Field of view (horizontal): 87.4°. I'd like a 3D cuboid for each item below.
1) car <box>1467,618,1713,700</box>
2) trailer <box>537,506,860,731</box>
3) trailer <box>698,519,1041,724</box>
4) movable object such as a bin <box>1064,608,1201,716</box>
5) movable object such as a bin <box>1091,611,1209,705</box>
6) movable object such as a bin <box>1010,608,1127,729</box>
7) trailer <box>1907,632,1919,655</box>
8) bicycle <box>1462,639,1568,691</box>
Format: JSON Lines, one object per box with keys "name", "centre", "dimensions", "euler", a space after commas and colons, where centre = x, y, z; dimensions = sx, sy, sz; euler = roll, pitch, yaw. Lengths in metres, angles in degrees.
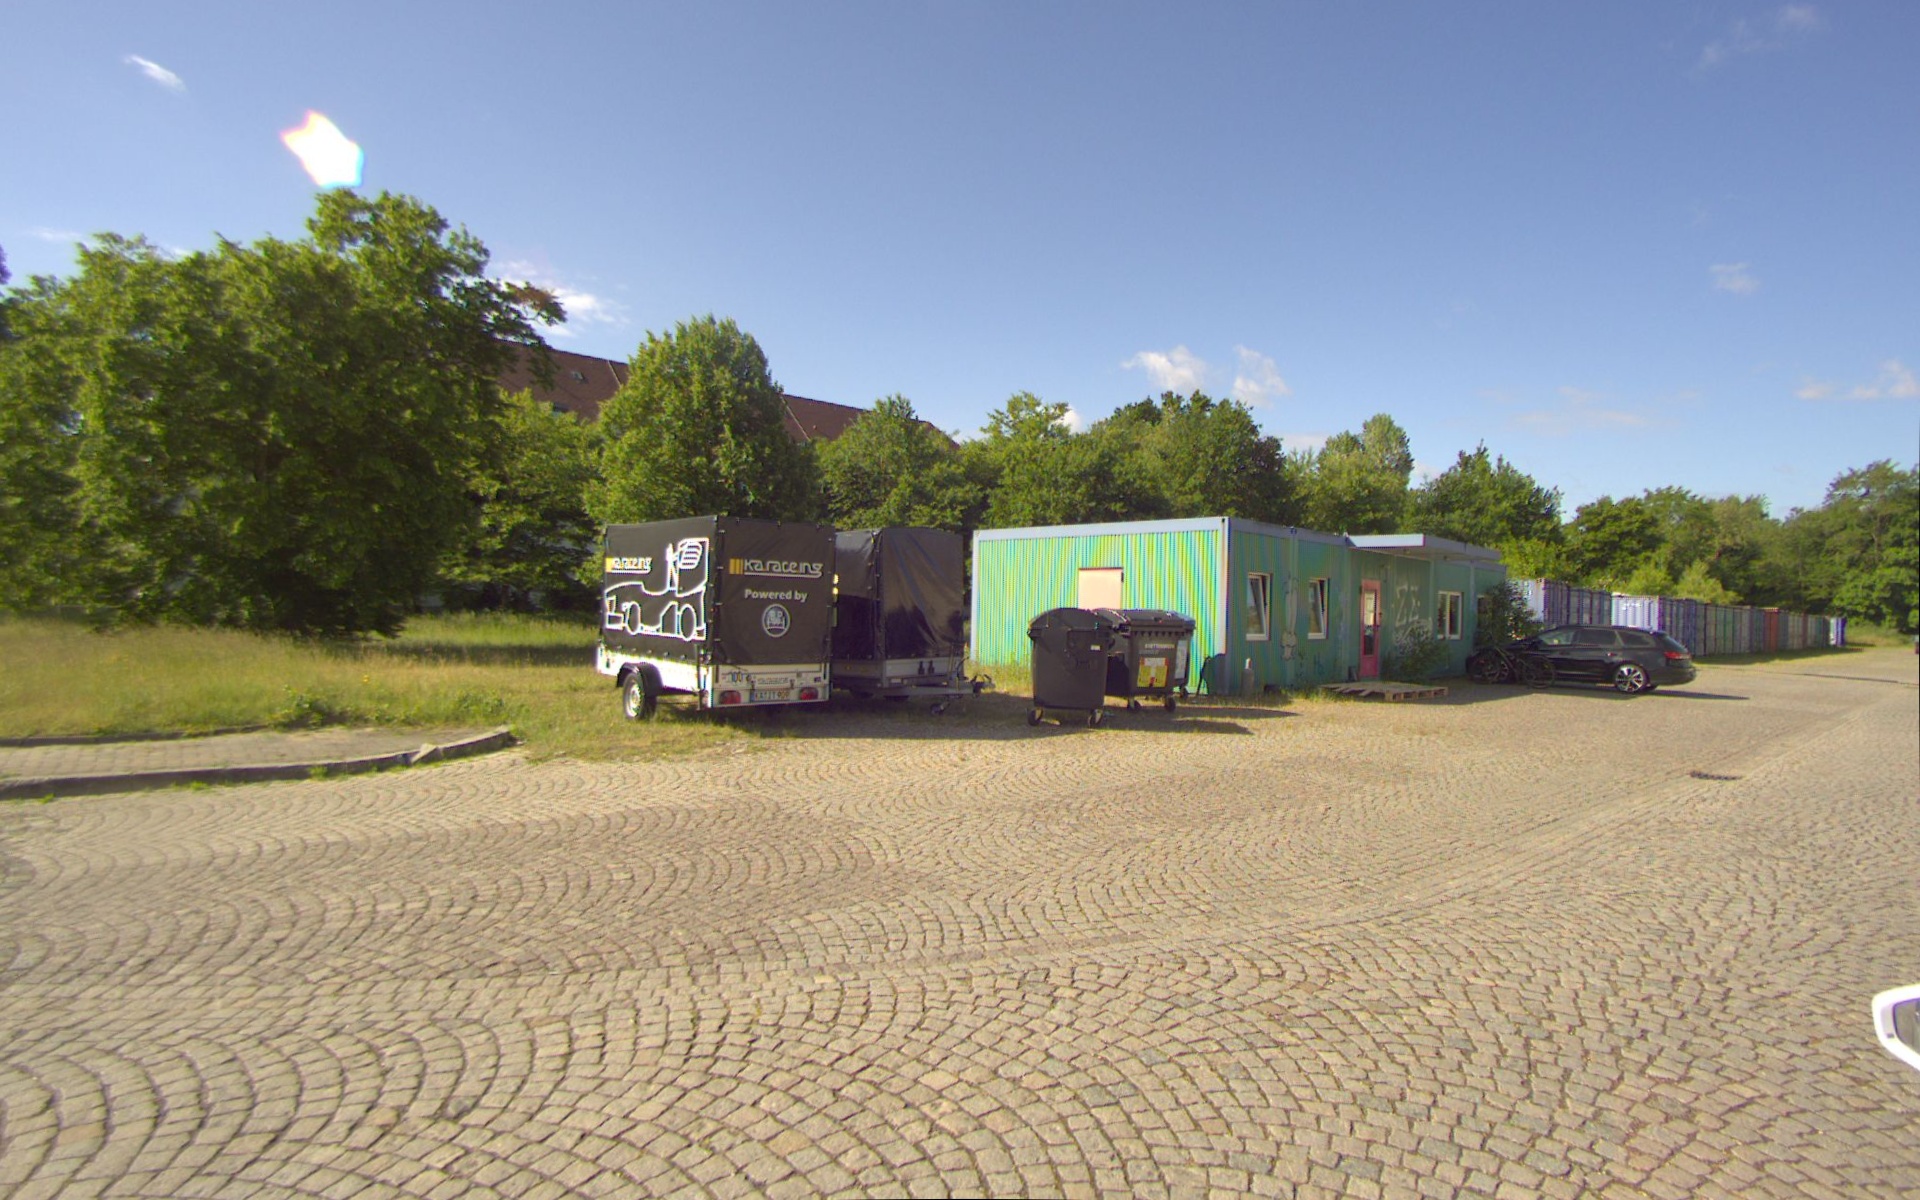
{"name": "car", "centre": [14.152, 1.258, 22.730], "dimensions": [4.368, 1.484, 1.988], "euler": [3, 1, 44]}
{"name": "trailer", "centre": [-3.493, 0.203, 12.804], "dimensions": [2.121, 2.328, 4.614], "euler": [2, -1, -41]}
{"name": "trailer", "centre": [-1.433, 0.256, 14.126], "dimensions": [4.907, 2.386, 2.083], "euler": [1, -1, 44]}
{"name": "movable object such as a bin", "centre": [2.506, 0.858, 14.569], "dimensions": [1.524, 1.441, 1.284], "euler": [2, -1, -42]}
{"name": "movable object such as a bin", "centre": [3.101, 0.906, 16.347], "dimensions": [1.363, 1.405, 1.531], "euler": [1, -1, 35]}
{"name": "movable object such as a bin", "centre": [1.328, 0.823, 12.700], "dimensions": [1.358, 1.405, 1.536], "euler": [1, -1, 3]}
{"name": "trailer", "centre": [73.449, 3.310, 75.685], "dimensions": [5.583, 1.668, 2.764], "euler": [2, -1, -44]}
{"name": "bicycle", "centre": [12.312, 1.412, 22.321], "dimensions": [1.032, 1.041, 1.856], "euler": [2, -1, -45]}
